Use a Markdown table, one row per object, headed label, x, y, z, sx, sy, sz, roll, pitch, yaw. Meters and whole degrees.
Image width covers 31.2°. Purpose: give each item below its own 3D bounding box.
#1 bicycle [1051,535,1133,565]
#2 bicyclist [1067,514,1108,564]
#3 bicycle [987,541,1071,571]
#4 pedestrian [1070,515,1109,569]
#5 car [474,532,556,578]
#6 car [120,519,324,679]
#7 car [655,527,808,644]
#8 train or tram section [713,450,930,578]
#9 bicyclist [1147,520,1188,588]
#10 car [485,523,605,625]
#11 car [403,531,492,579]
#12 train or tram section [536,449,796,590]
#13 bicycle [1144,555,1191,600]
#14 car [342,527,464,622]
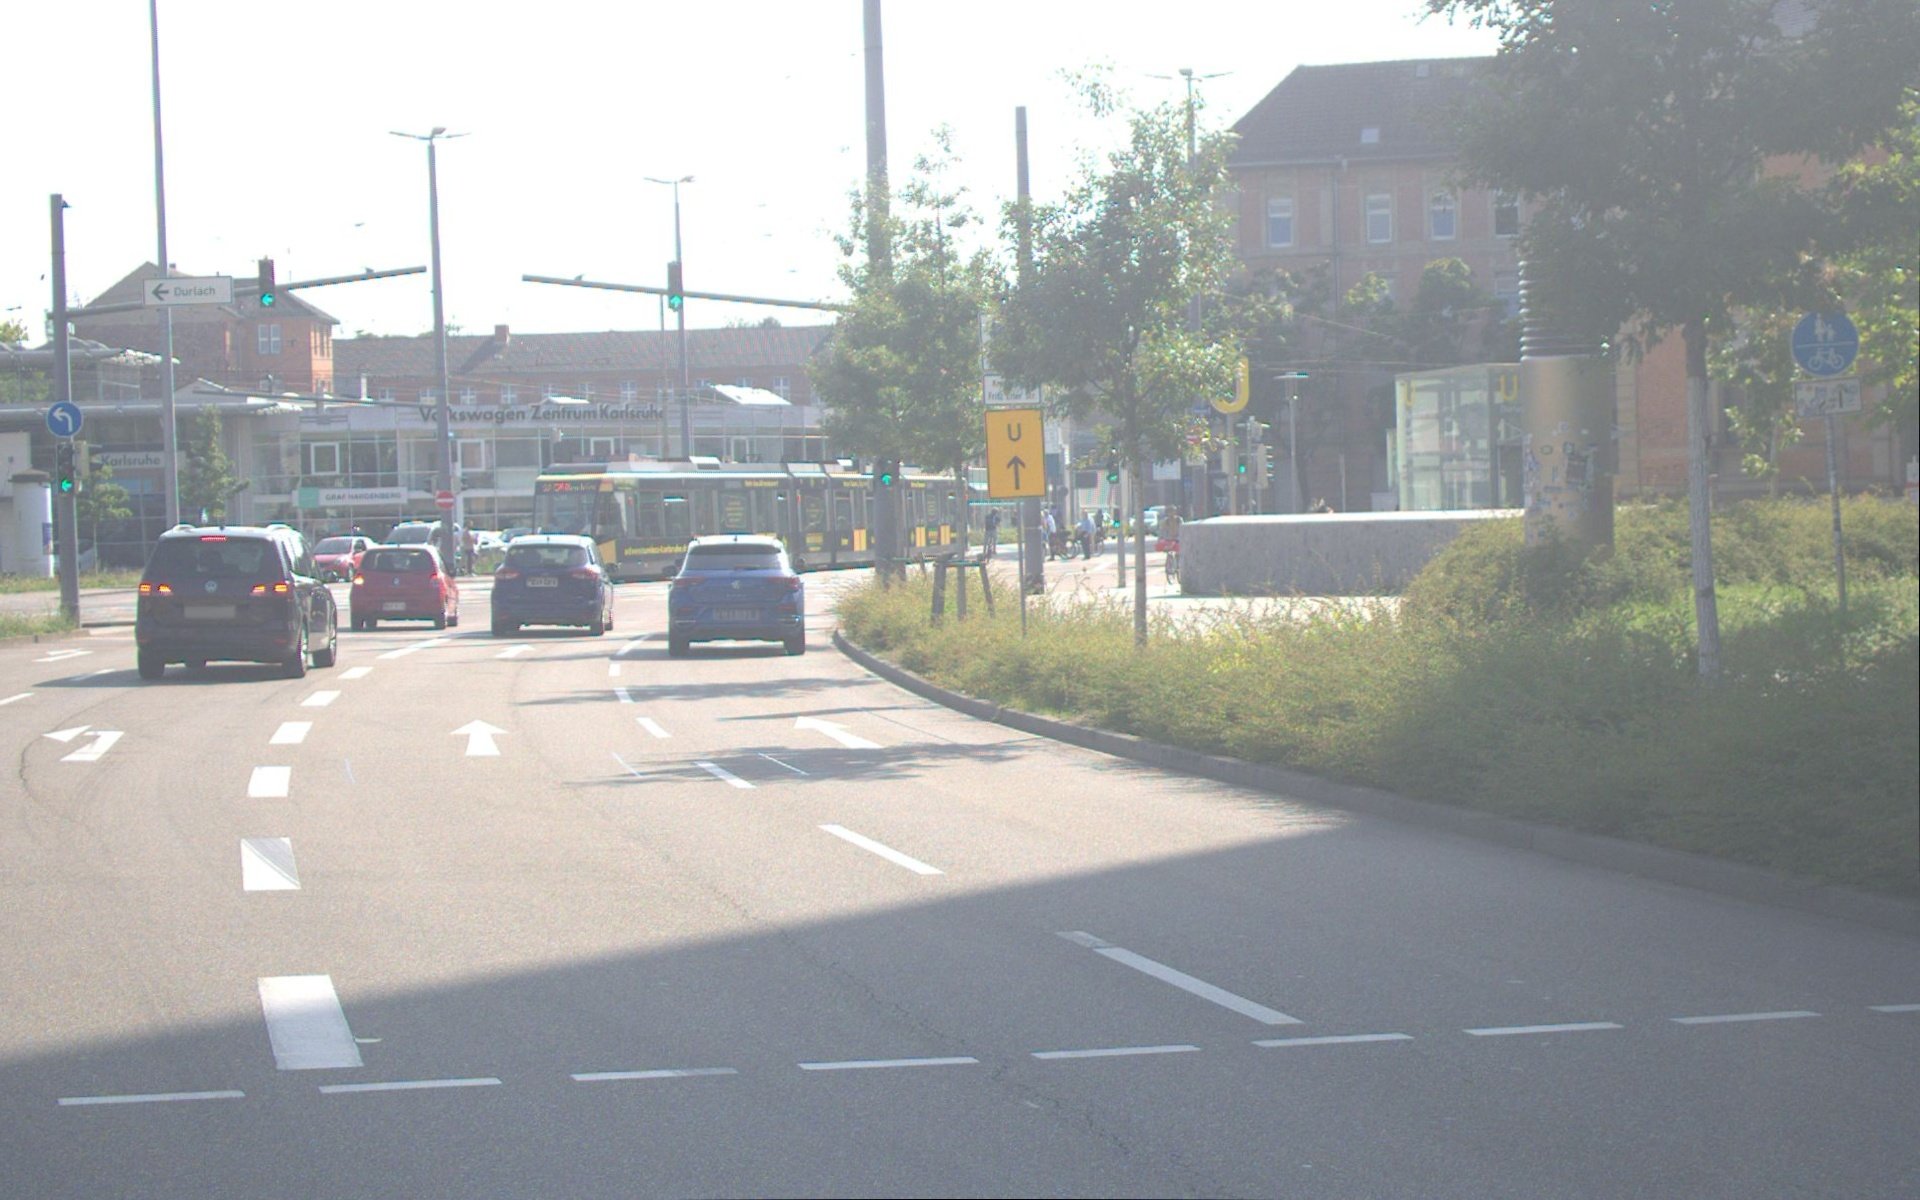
| label | x | y | z | sx | sy | sz | roll | pitch | yaw |
| --- | --- | --- | --- | --- | --- | --- | --- | --- | --- |
| bicycle | 4.530 | -1.727 | 117.823 | 2.618 | 0.961 | 1.093 | -2 | 2 | -28 |
| bicyclist | 4.353 | -2.086 | 117.718 | 0.934 | 1.674 | 1.093 | -2 | 2 | -28 |
| bicycle | 2.346 | -1.485 | 116.104 | 2.618 | 0.961 | 1.093 | -2 | 2 | -28 |
| pedestrian | 4.330 | -1.942 | 115.183 | 0.859 | 1.791 | 0.925 | 0 | 2 | 45 |
| car | -15.570 | -1.579 | 120.384 | 1.615 | 1.470 | 3.998 | -3 | 1 | 11 |
| car | -8.536 | -0.064 | 40.100 | 1.825 | 1.708 | 4.413 | -2 | 2 | -6 |
| car | -3.111 | -0.231 | 46.077 | 1.825 | 1.423 | 4.413 | -2 | 2 | -6 |
| train or tram section | -4.117 | -2.714 | 105.935 | 2.710 | 3.686 | 10.579 | -1 | 2 | 20 |
| bicyclist | 4.697 | -1.053 | 77.759 | 0.720 | 1.507 | 1.004 | -1 | 1 | 13 |
| car | -6.728 | -0.460 | 55.960 | 1.825 | 1.530 | 4.413 | -2 | 2 | -6 |
| car | -16.950 | -1.509 | 113.818 | 1.615 | 1.470 | 3.998 | -3 | 1 | 11 |
| train or tram section | -8.052 | -2.319 | 96.067 | 2.658 | 3.686 | 10.578 | -1 | 2 | 22 |
| bicycle | 4.699 | -0.515 | 77.728 | 0.720 | 0.956 | 1.920 | -1 | 1 | 13 |
| car | -9.672 | -0.470 | 59.962 | 1.825 | 1.530 | 4.413 | -2 | 2 | -6 |
